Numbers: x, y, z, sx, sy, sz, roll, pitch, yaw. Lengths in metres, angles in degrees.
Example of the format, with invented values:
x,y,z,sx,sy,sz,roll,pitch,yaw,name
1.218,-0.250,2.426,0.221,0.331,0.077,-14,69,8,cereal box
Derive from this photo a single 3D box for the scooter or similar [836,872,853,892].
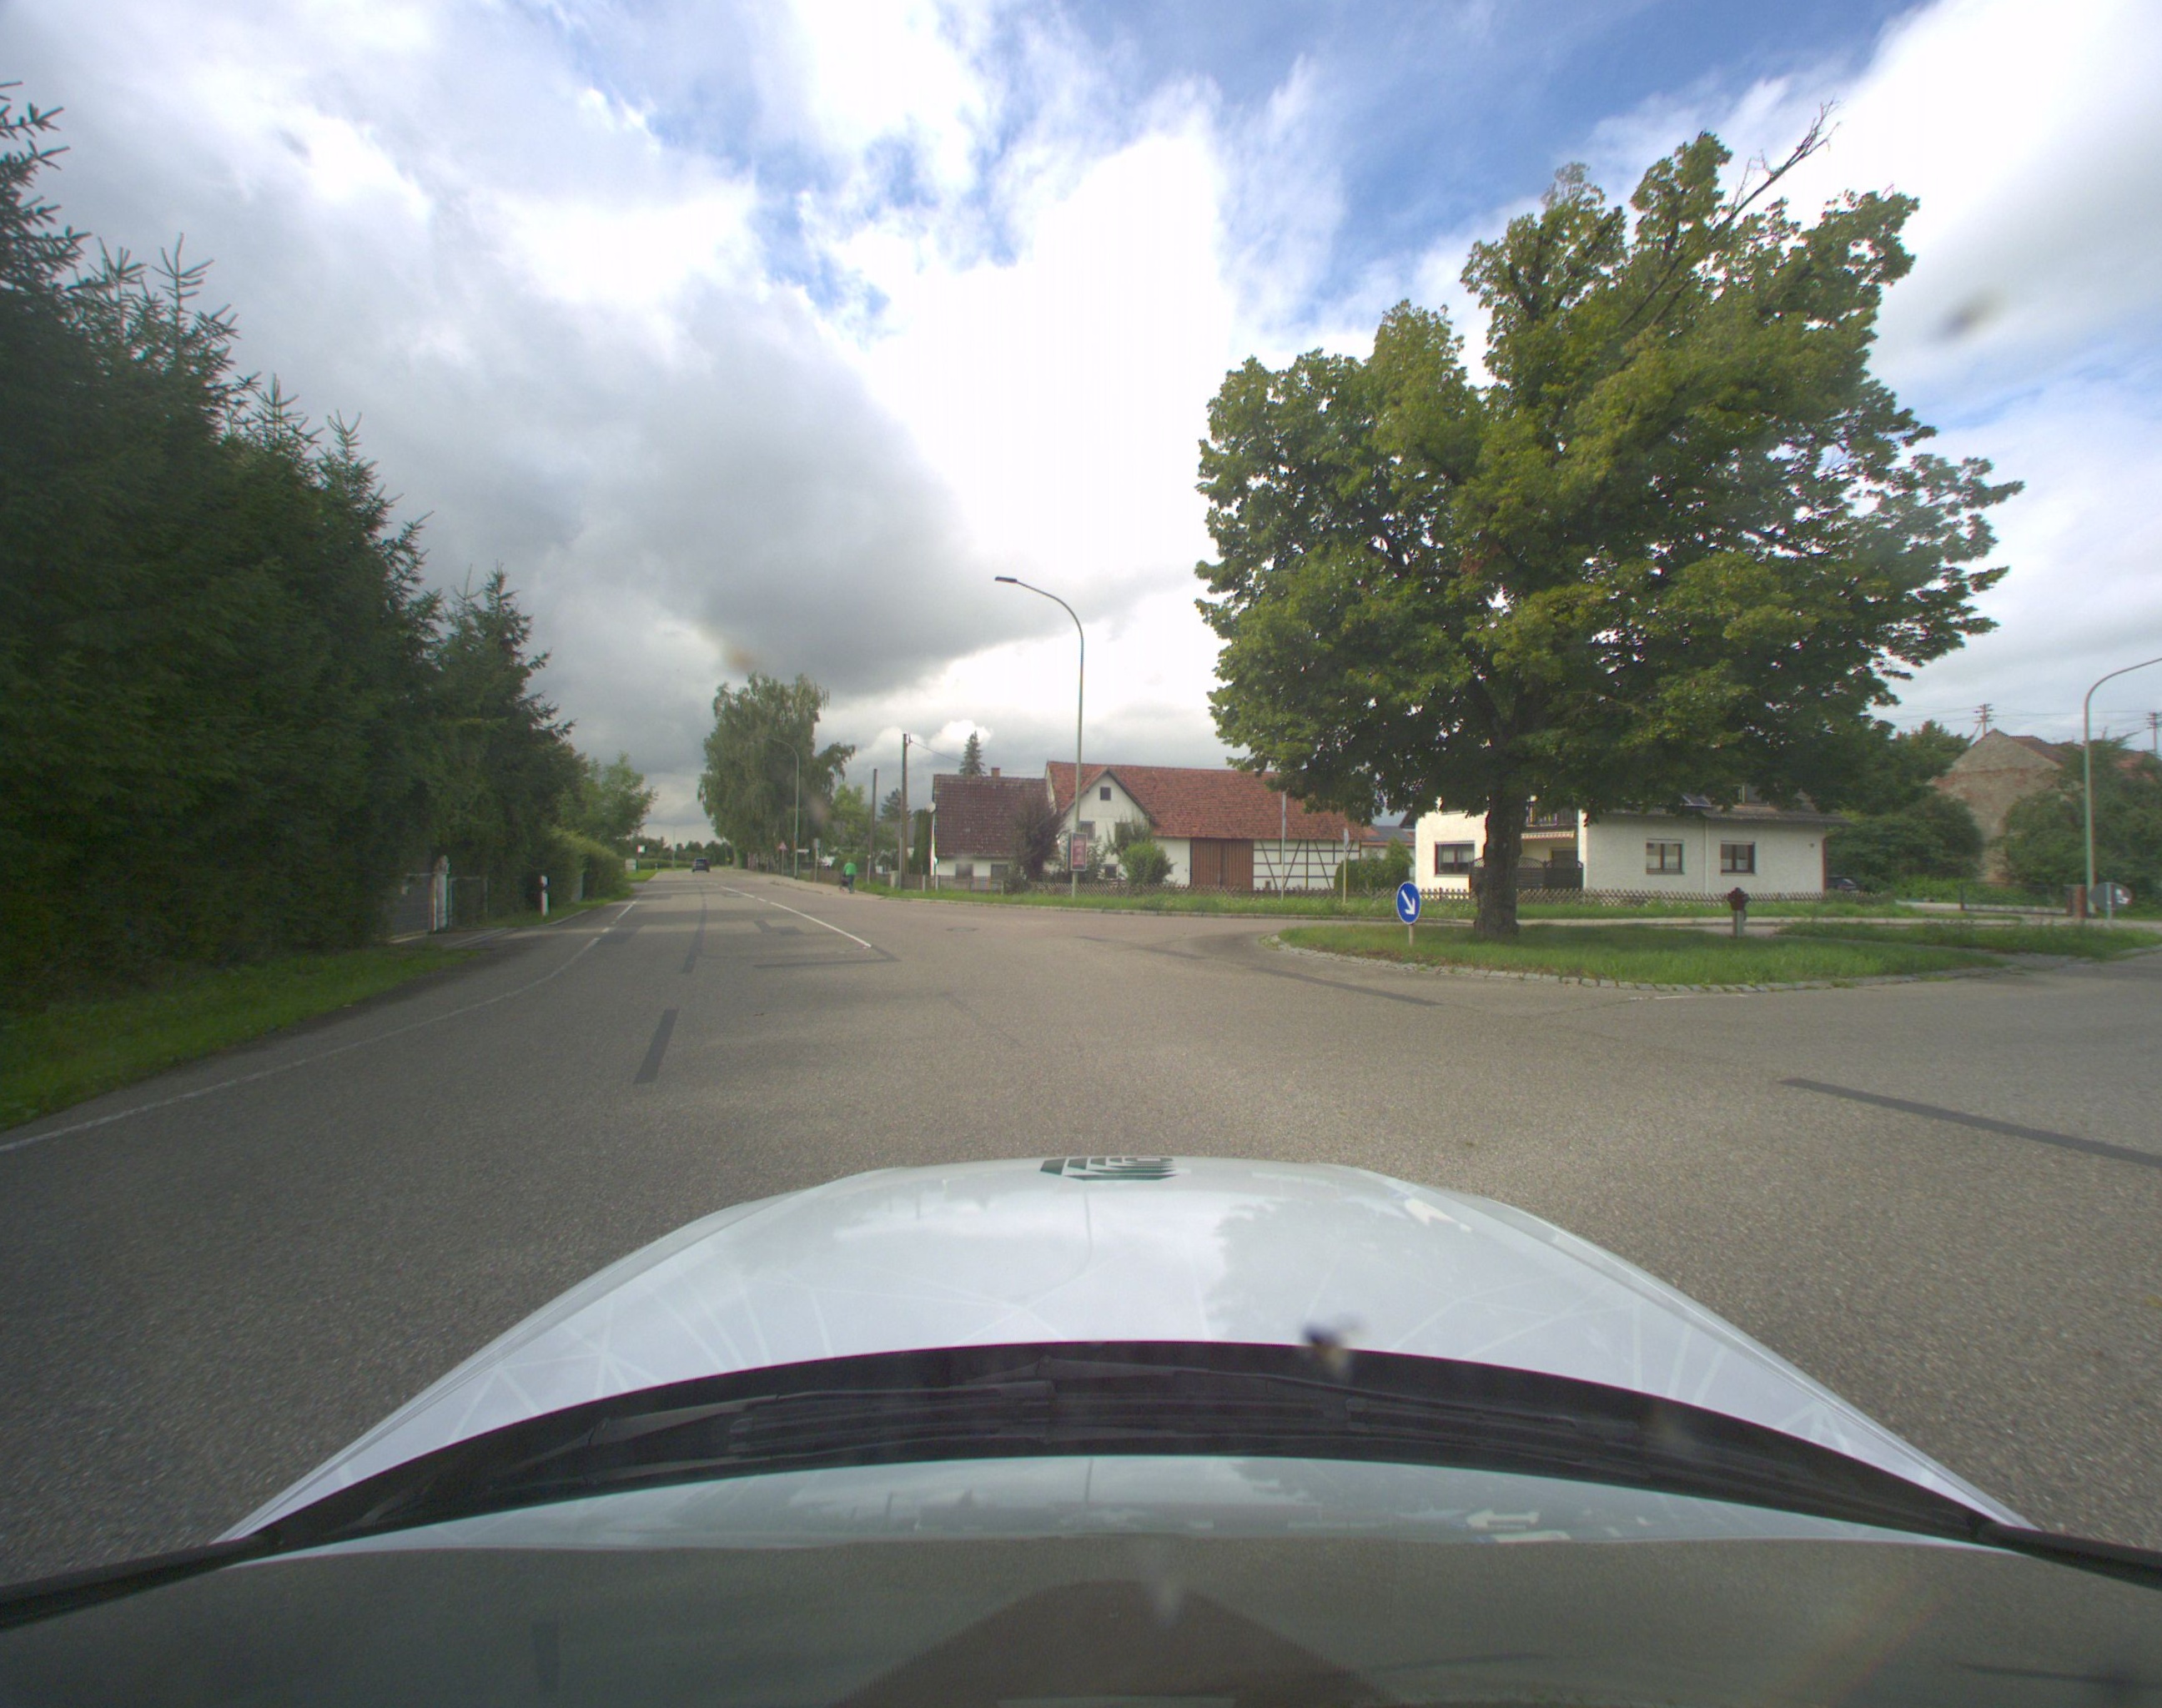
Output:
x,y,z,sx,sy,sz,roll,pitch,yaw,name
-11.881,1.422,40.927,0.634,0.948,0.616,6,-3,-31,scooter or similar

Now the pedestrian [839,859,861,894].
x,y,z,sx,sy,sz,roll,pitch,yaw,name
-11.449,1.125,40.354,0.793,1.665,0.705,6,-3,-31,pedestrian

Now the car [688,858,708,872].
x,y,z,sx,sy,sz,roll,pitch,yaw,name
-43.932,1.240,93.542,2.003,1.552,3.968,2,-1,-25,car
